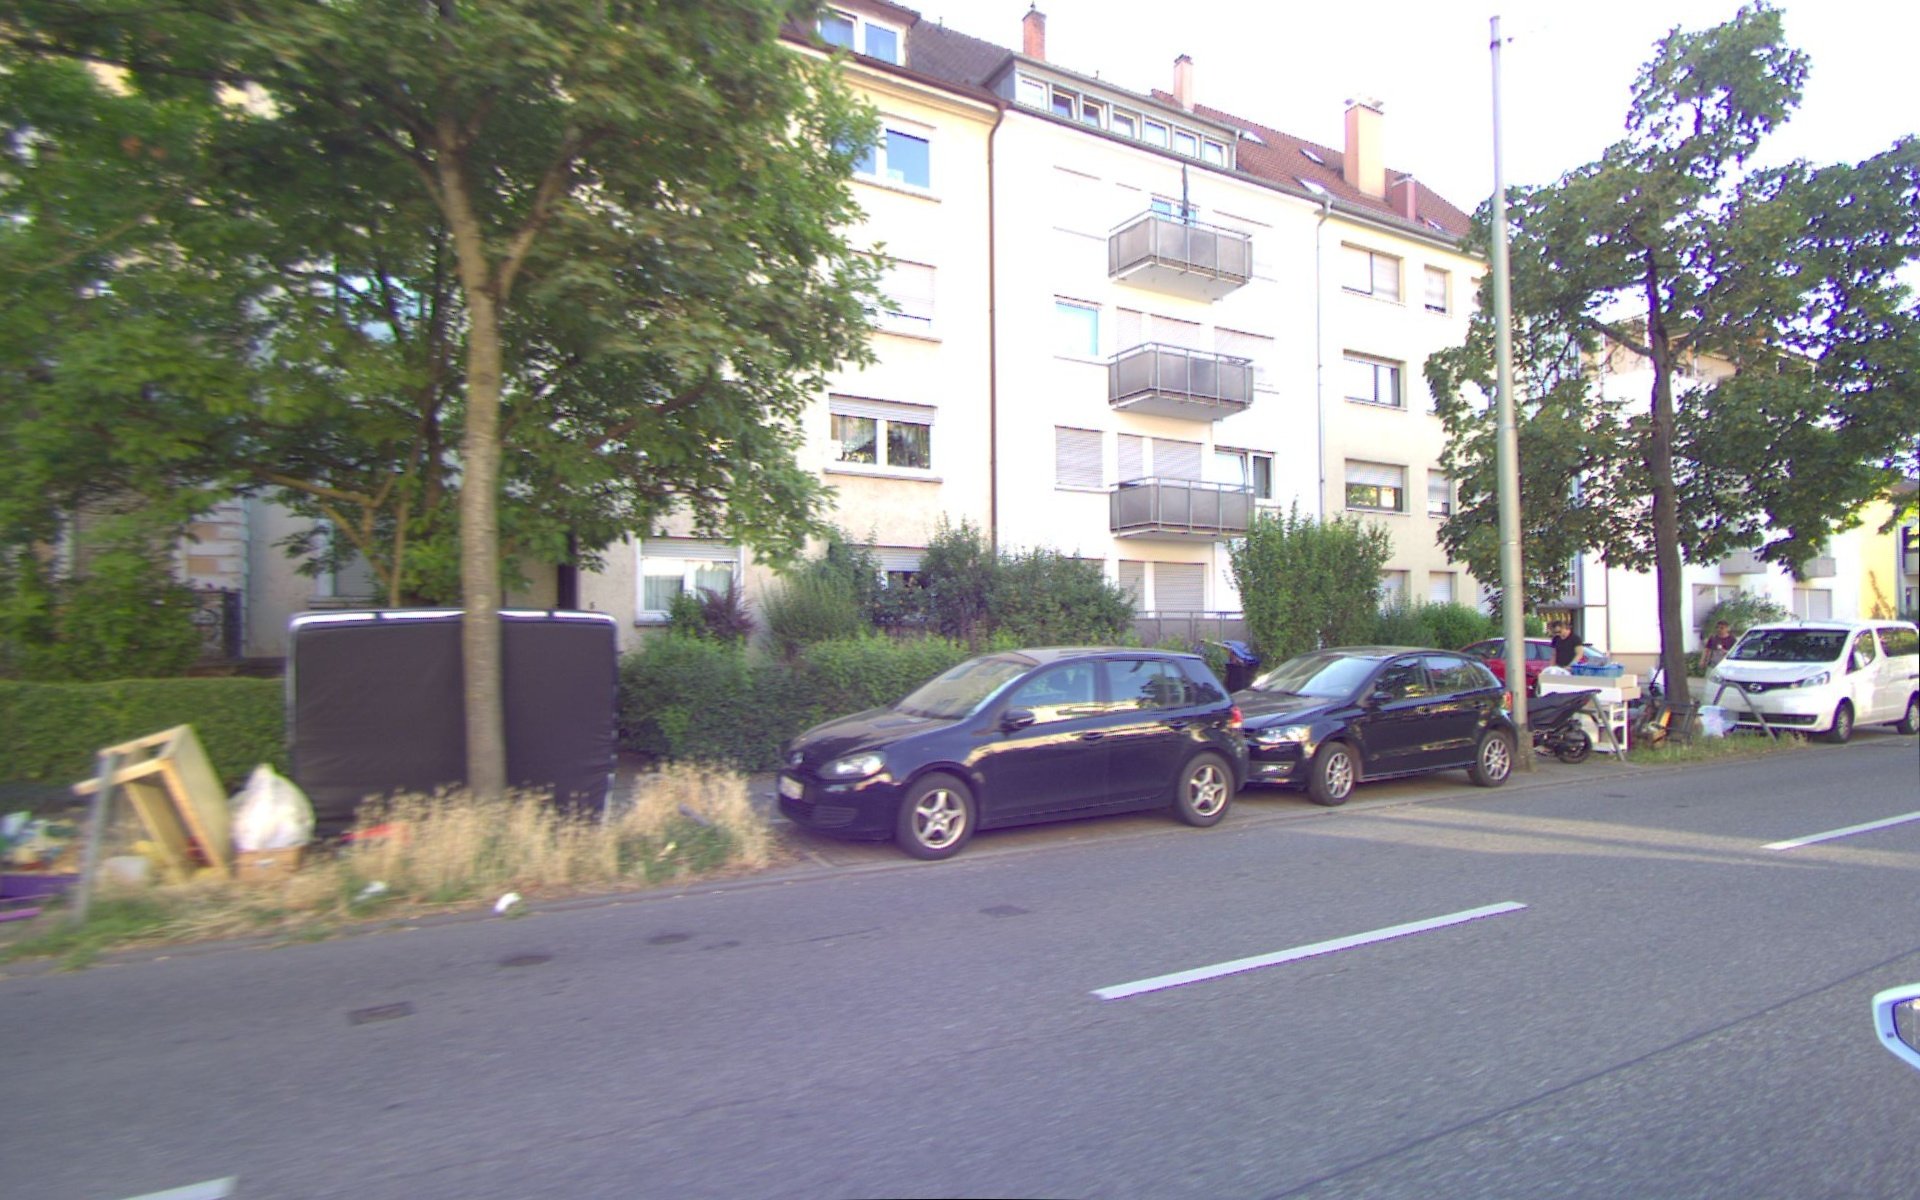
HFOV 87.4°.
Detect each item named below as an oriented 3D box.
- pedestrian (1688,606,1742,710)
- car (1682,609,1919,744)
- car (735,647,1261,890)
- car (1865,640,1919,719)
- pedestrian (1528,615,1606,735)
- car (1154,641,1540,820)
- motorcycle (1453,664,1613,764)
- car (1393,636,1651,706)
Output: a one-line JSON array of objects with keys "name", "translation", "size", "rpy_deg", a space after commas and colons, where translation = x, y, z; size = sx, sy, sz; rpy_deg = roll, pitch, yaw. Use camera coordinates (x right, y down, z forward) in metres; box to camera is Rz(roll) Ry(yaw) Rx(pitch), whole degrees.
[{"name": "pedestrian", "translation": [15.094, 1.152, 20.089], "size": [0.609, 2.040, 0.624], "rpy_deg": [0, -2, -30]}, {"name": "car", "translation": [13.866, 1.143, 16.341], "size": [4.406, 1.944, 1.762], "rpy_deg": [0, -2, -30]}, {"name": "car", "translation": [0.388, 1.197, 8.450], "size": [4.146, 1.522, 1.742], "rpy_deg": [0, -2, -30]}, {"name": "car", "translation": [19.677, 1.526, 19.738], "size": [3.741, 1.439, 1.709], "rpy_deg": [0, -2, -30]}, {"name": "pedestrian", "translation": [10.654, 1.295, 17.645], "size": [0.964, 2.040, 0.764], "rpy_deg": [0, -2, -30]}, {"name": "car", "translation": [4.146, 1.229, 10.663], "size": [3.931, 1.522, 1.742], "rpy_deg": [0, -2, -30]}, {"name": "motorcycle", "translation": [7.146, 1.416, 12.577], "size": [1.672, 1.207, 0.442], "rpy_deg": [-1, -2, 8]}, {"name": "car", "translation": [12.468, 1.530, 22.537], "size": [1.985, 1.380, 4.669], "rpy_deg": [1, -3, -42]}]
